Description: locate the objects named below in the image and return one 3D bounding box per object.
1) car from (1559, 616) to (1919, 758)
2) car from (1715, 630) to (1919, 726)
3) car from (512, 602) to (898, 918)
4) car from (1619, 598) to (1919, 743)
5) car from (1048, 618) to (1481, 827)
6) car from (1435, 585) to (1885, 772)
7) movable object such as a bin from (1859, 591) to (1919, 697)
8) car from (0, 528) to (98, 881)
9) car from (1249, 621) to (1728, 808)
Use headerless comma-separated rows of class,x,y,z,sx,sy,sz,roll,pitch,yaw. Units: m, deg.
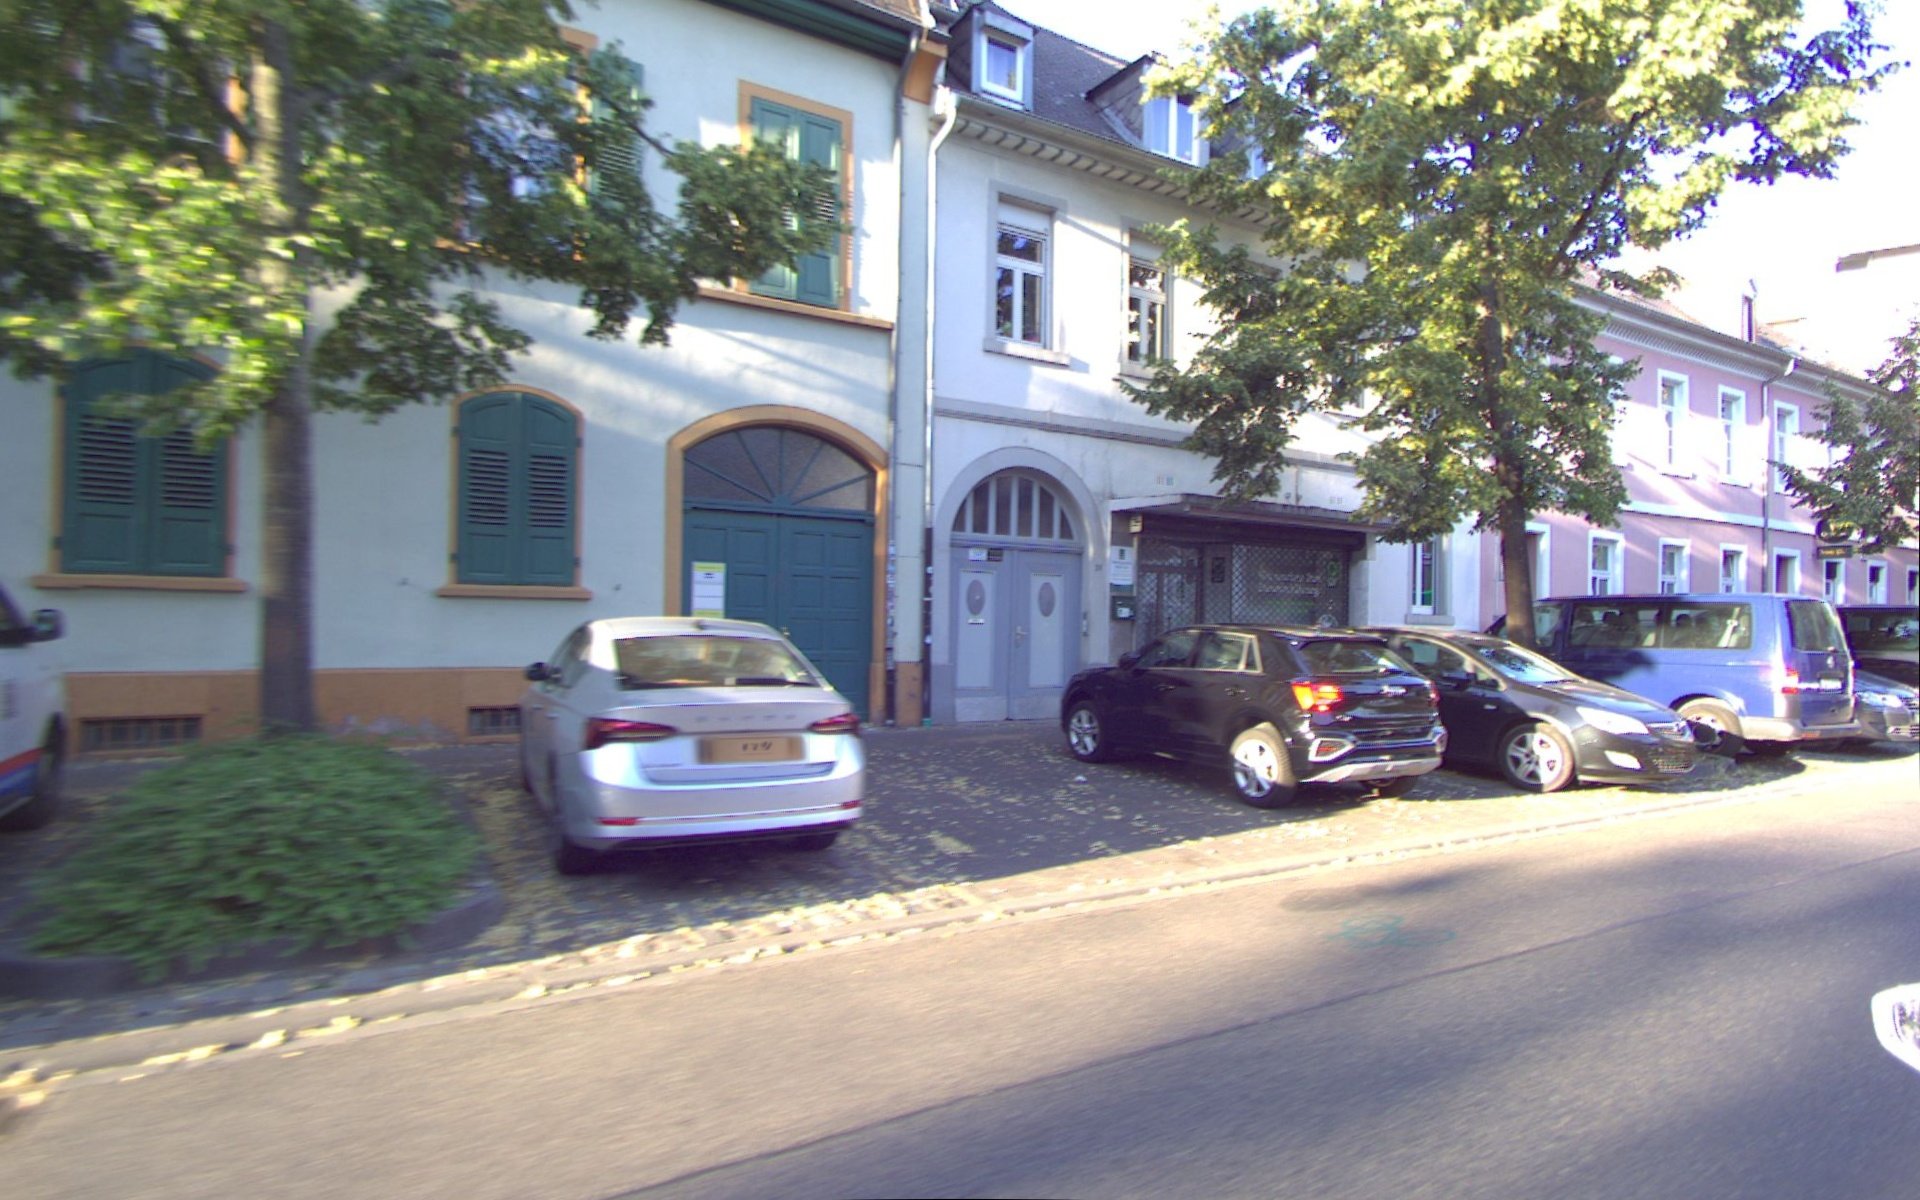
car,11.238,1.107,14.496,1.837,1.658,4.112,1,0,-29
car,16.141,1.327,17.396,1.868,1.489,4.578,1,-1,-27
car,-2.131,0.787,7.207,1.712,1.505,4.461,1,0,-27
car,13.357,0.997,15.941,1.943,2.002,4.460,1,0,-31
car,2.699,0.980,9.819,1.881,1.521,3.908,1,0,-27
car,8.915,0.875,13.260,2.043,2.002,4.464,1,-1,-29
movable object such as a bin,25.985,1.099,24.468,5.638,2.528,2.315,1,-1,14
car,-5.855,0.551,4.593,1.950,1.933,4.848,1,-1,-29
car,5.480,1.041,10.988,1.823,1.521,4.298,1,0,-34
